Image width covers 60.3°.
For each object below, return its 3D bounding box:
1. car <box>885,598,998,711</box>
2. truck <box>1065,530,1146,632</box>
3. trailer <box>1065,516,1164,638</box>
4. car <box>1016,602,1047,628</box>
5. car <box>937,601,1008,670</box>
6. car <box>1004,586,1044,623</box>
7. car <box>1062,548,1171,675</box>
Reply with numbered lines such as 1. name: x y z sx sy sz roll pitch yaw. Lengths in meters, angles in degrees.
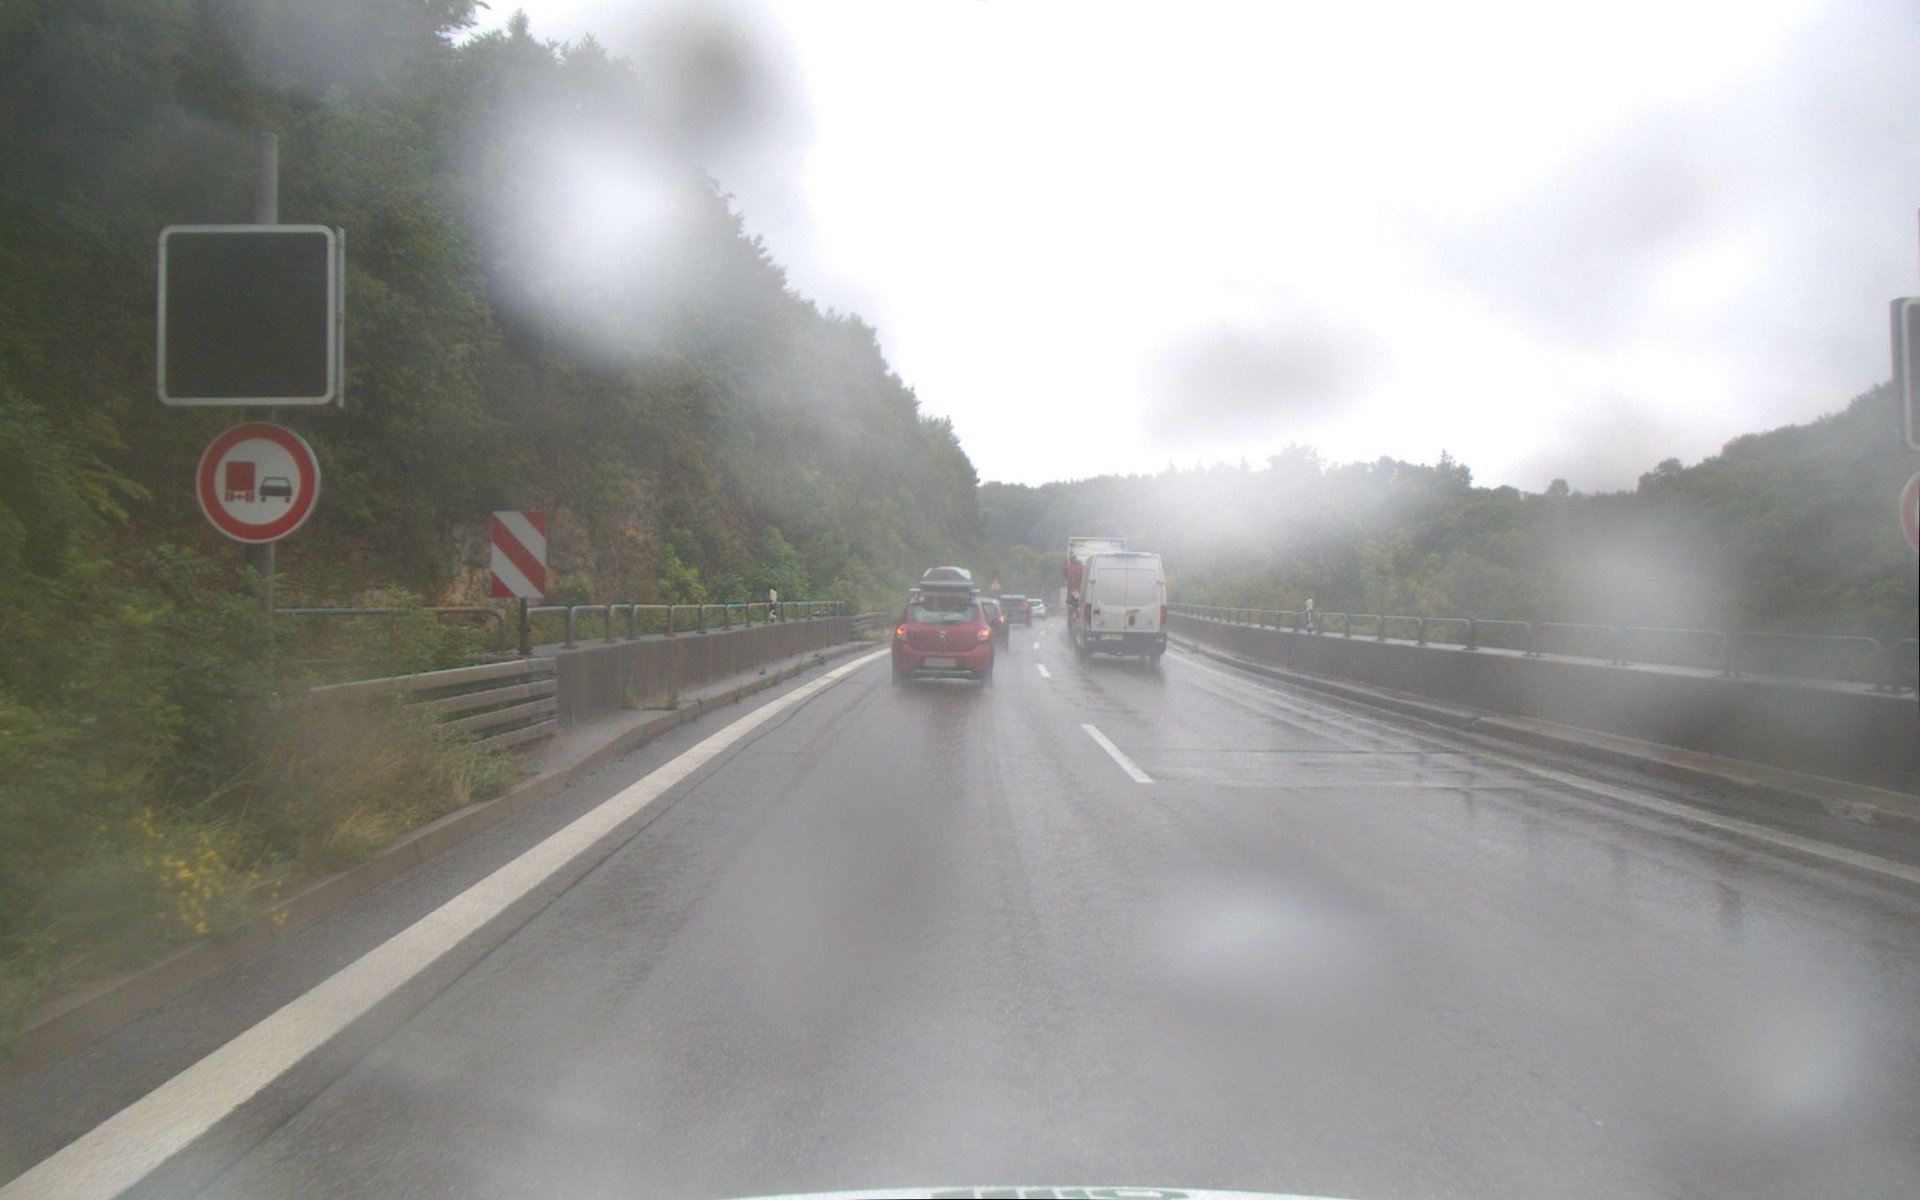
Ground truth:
1. car: -0.289 0.881 28.389 1.722 1.714 4.000 -3 0 0
2. truck: 6.002 -0.772 68.919 3.152 4.047 5.441 -1 0 3
3. trailer: 5.635 -0.767 62.657 3.151 4.069 13.529 -1 0 3
4. car: 5.034 1.054 115.635 1.952 1.668 4.002 -3 0 5
5. car: 0.316 0.954 45.672 1.795 1.745 3.644 -3 0 0
6. car: 3.262 0.236 83.632 1.835 1.735 3.890 -3 0 3
7. car: 3.768 0.261 41.121 2.160 2.843 7.383 1 0 1
